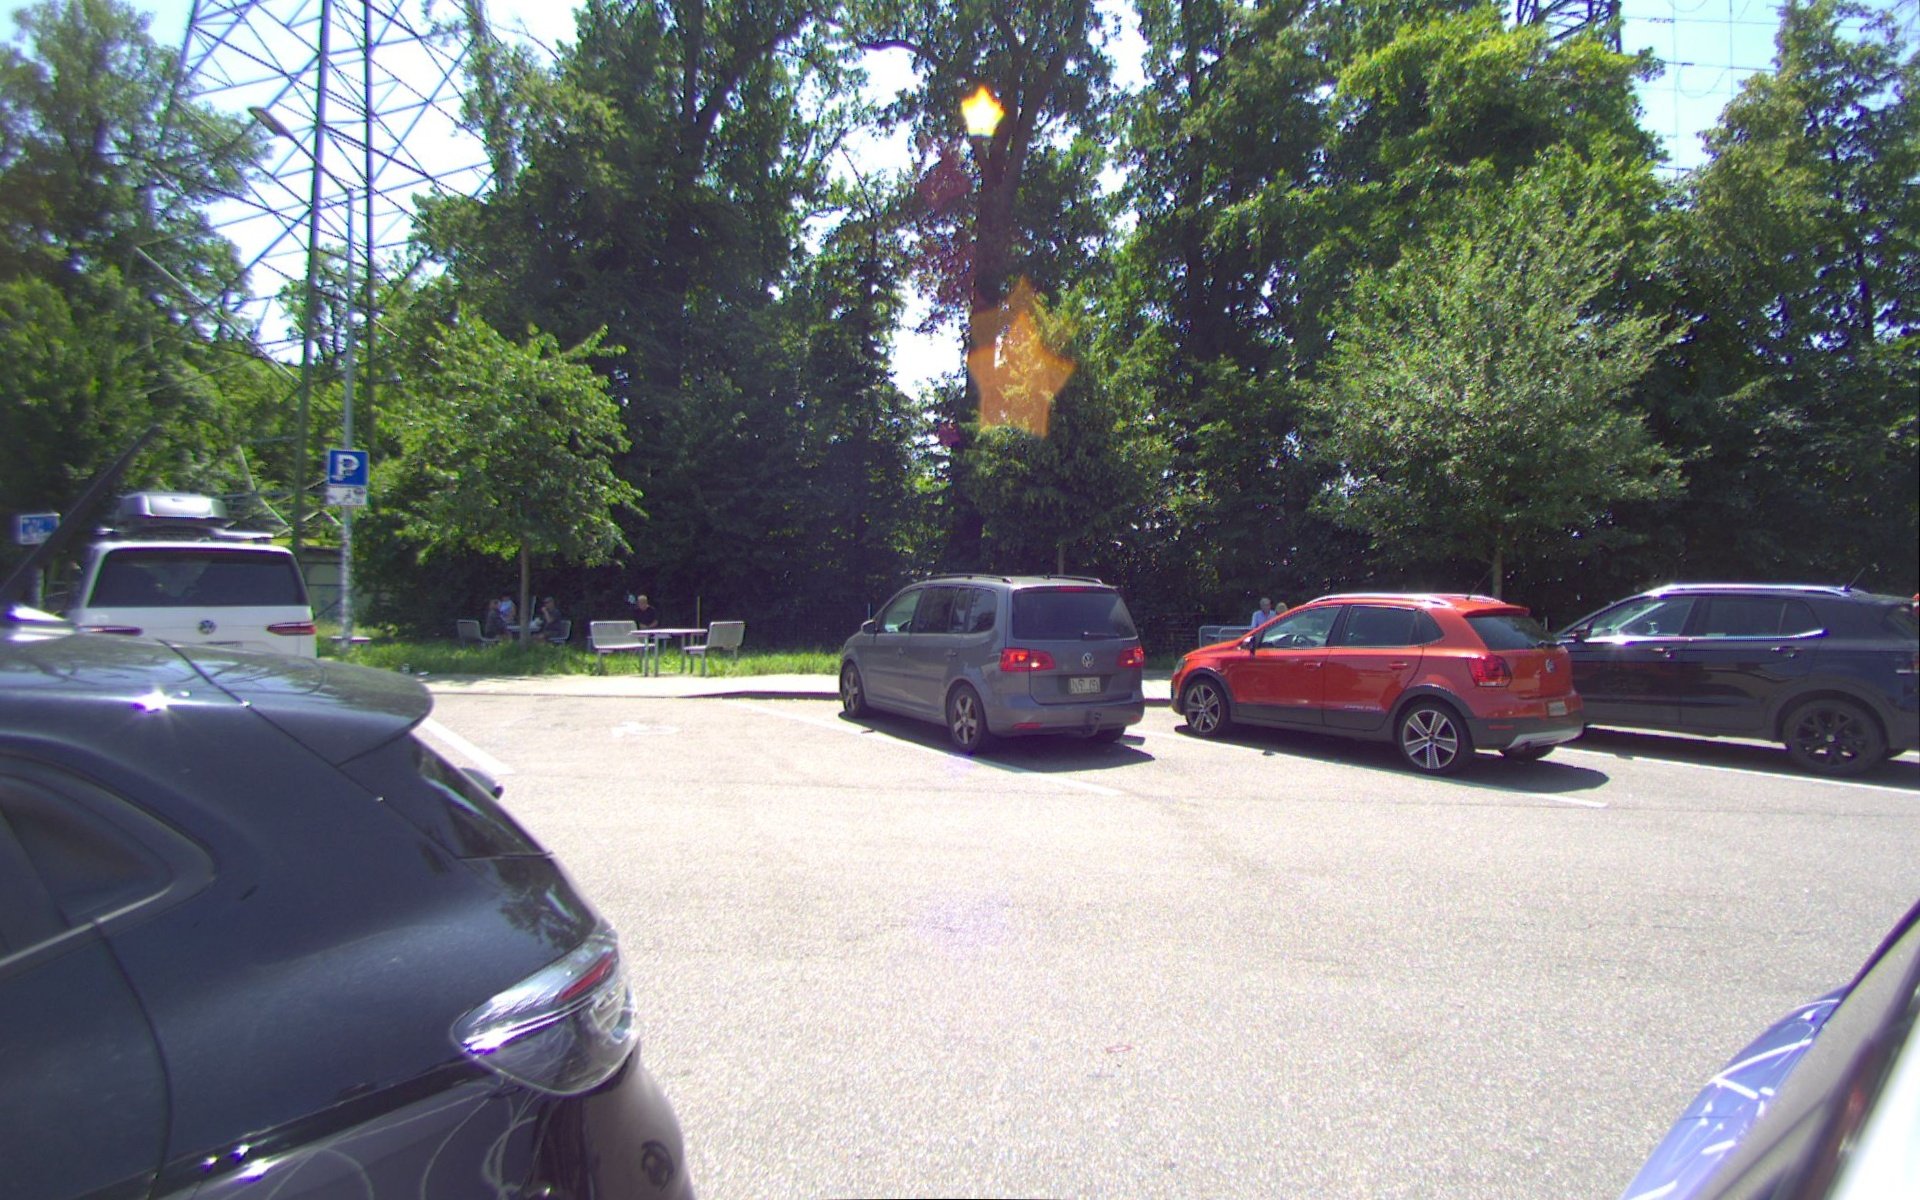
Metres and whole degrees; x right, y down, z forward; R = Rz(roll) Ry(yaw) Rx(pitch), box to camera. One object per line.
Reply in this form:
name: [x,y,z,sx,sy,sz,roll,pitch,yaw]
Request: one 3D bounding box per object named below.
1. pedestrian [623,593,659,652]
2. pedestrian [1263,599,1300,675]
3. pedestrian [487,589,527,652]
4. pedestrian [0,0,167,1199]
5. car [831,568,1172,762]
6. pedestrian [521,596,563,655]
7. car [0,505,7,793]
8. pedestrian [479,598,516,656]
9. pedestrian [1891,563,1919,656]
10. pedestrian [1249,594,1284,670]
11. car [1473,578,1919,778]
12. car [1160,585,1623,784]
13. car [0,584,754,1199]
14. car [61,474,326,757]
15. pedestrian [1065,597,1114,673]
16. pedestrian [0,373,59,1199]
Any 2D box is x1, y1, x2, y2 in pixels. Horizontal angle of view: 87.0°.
pedestrian: [-6.698,0.465,21.284,0.550,1.229,0.599,1,-1,-1]
pedestrian: [5.676,0.643,17.879,0.495,1.316,0.491,1,-1,0]
pedestrian: [-10.959,0.491,24.494,0.722,1.478,0.669,1,-1,-39]
pedestrian: [-0.804,0.470,0.410,0.652,1.606,0.639,0,-1,42]
car: [0.213,0.502,10.536,1.717,1.611,3.961,0,1,-30]
pedestrian: [-9.727,0.583,23.557,0.722,1.343,0.669,1,-1,-39]
car: [-8.910,0.233,5.560,5.206,2.176,2.003,0,2,-5]
pedestrian: [-10.447,0.599,22.860,0.630,1.287,0.579,1,-1,-39]
pedestrian: [14.042,0.135,14.380,0.846,1.316,0.894,1,-1,-18]
pedestrian: [5.757,0.593,19.003,0.495,1.393,0.491,1,-1,0]
car: [7.228,0.579,9.658,1.727,1.566,3.806,0,1,-39]
car: [3.849,0.607,9.634,1.604,1.476,3.810,0,1,-34]
car: [-2.137,0.719,0.568,1.615,1.503,3.706,0,-1,44]
car: [-8.077,0.090,10.607,1.885,2.353,4.089,0,1,-40]
pedestrian: [2.149,0.577,16.839,0.660,1.235,0.682,1,-2,-5]
pedestrian: [-2.506,0.442,1.943,0.897,1.896,0.775,1,-1,-20]
